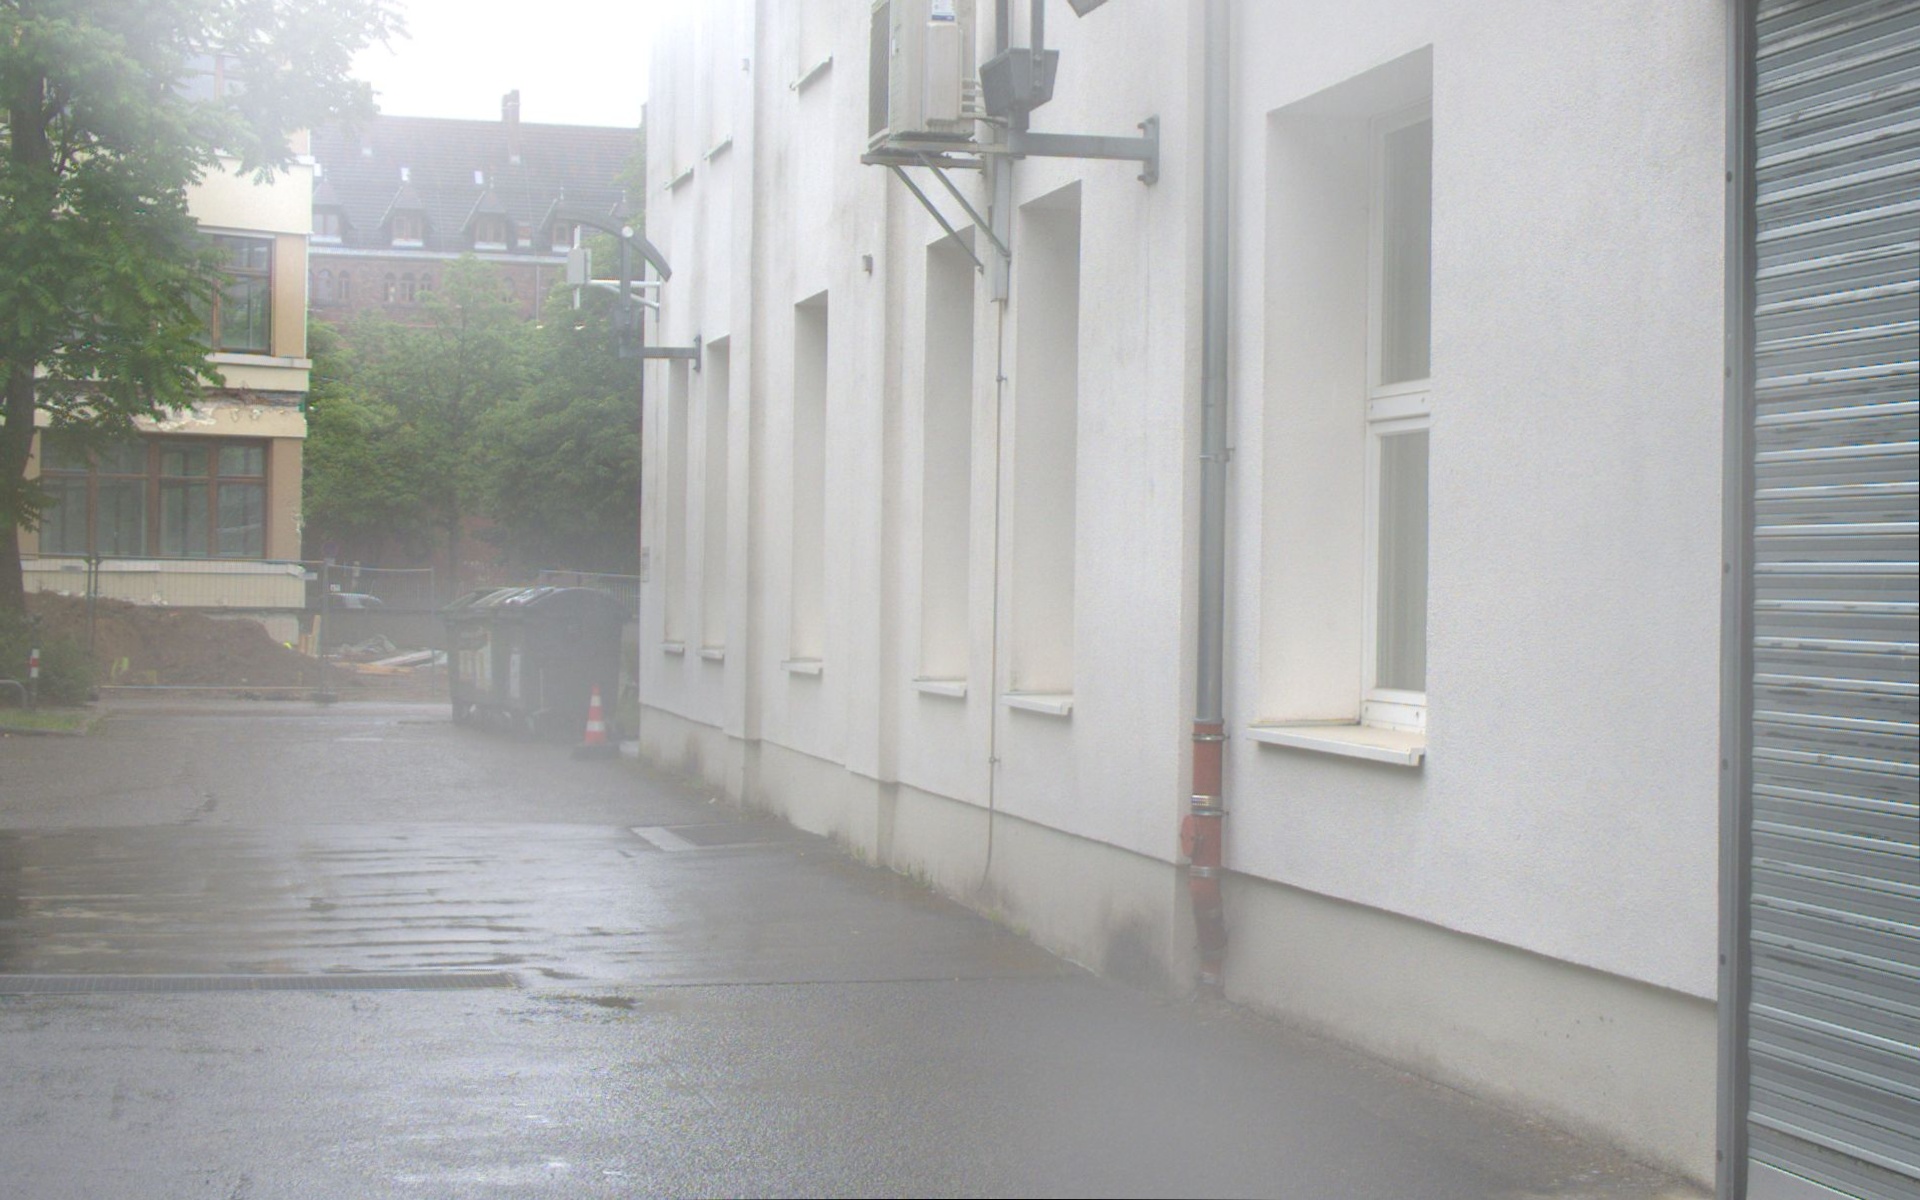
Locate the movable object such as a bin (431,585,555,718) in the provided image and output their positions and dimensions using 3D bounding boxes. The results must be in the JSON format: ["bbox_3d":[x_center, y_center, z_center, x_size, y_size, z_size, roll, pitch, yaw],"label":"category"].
[{"bbox_3d":[-5.224,0.588,38.395,1.214,1.432,1.259,1,-2,-14],"label":"movable object such as a bin"}]

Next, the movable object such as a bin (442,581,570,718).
[{"bbox_3d":[-4.903,0.547,37.054,1.214,1.432,1.259,1,-2,-14],"label":"movable object such as a bin"}]

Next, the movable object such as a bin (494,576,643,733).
[{"bbox_3d":[-3.710,0.524,32.501,1.214,1.432,1.236,1,-2,-14],"label":"movable object such as a bin"}]

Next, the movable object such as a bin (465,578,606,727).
[{"bbox_3d":[-4.220,0.535,34.123,1.214,1.432,1.294,1,-2,-14],"label":"movable object such as a bin"}]

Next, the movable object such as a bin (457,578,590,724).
[{"bbox_3d":[-4.544,0.543,35.723,1.214,1.463,1.236,1,-2,-14],"label":"movable object such as a bin"}]
